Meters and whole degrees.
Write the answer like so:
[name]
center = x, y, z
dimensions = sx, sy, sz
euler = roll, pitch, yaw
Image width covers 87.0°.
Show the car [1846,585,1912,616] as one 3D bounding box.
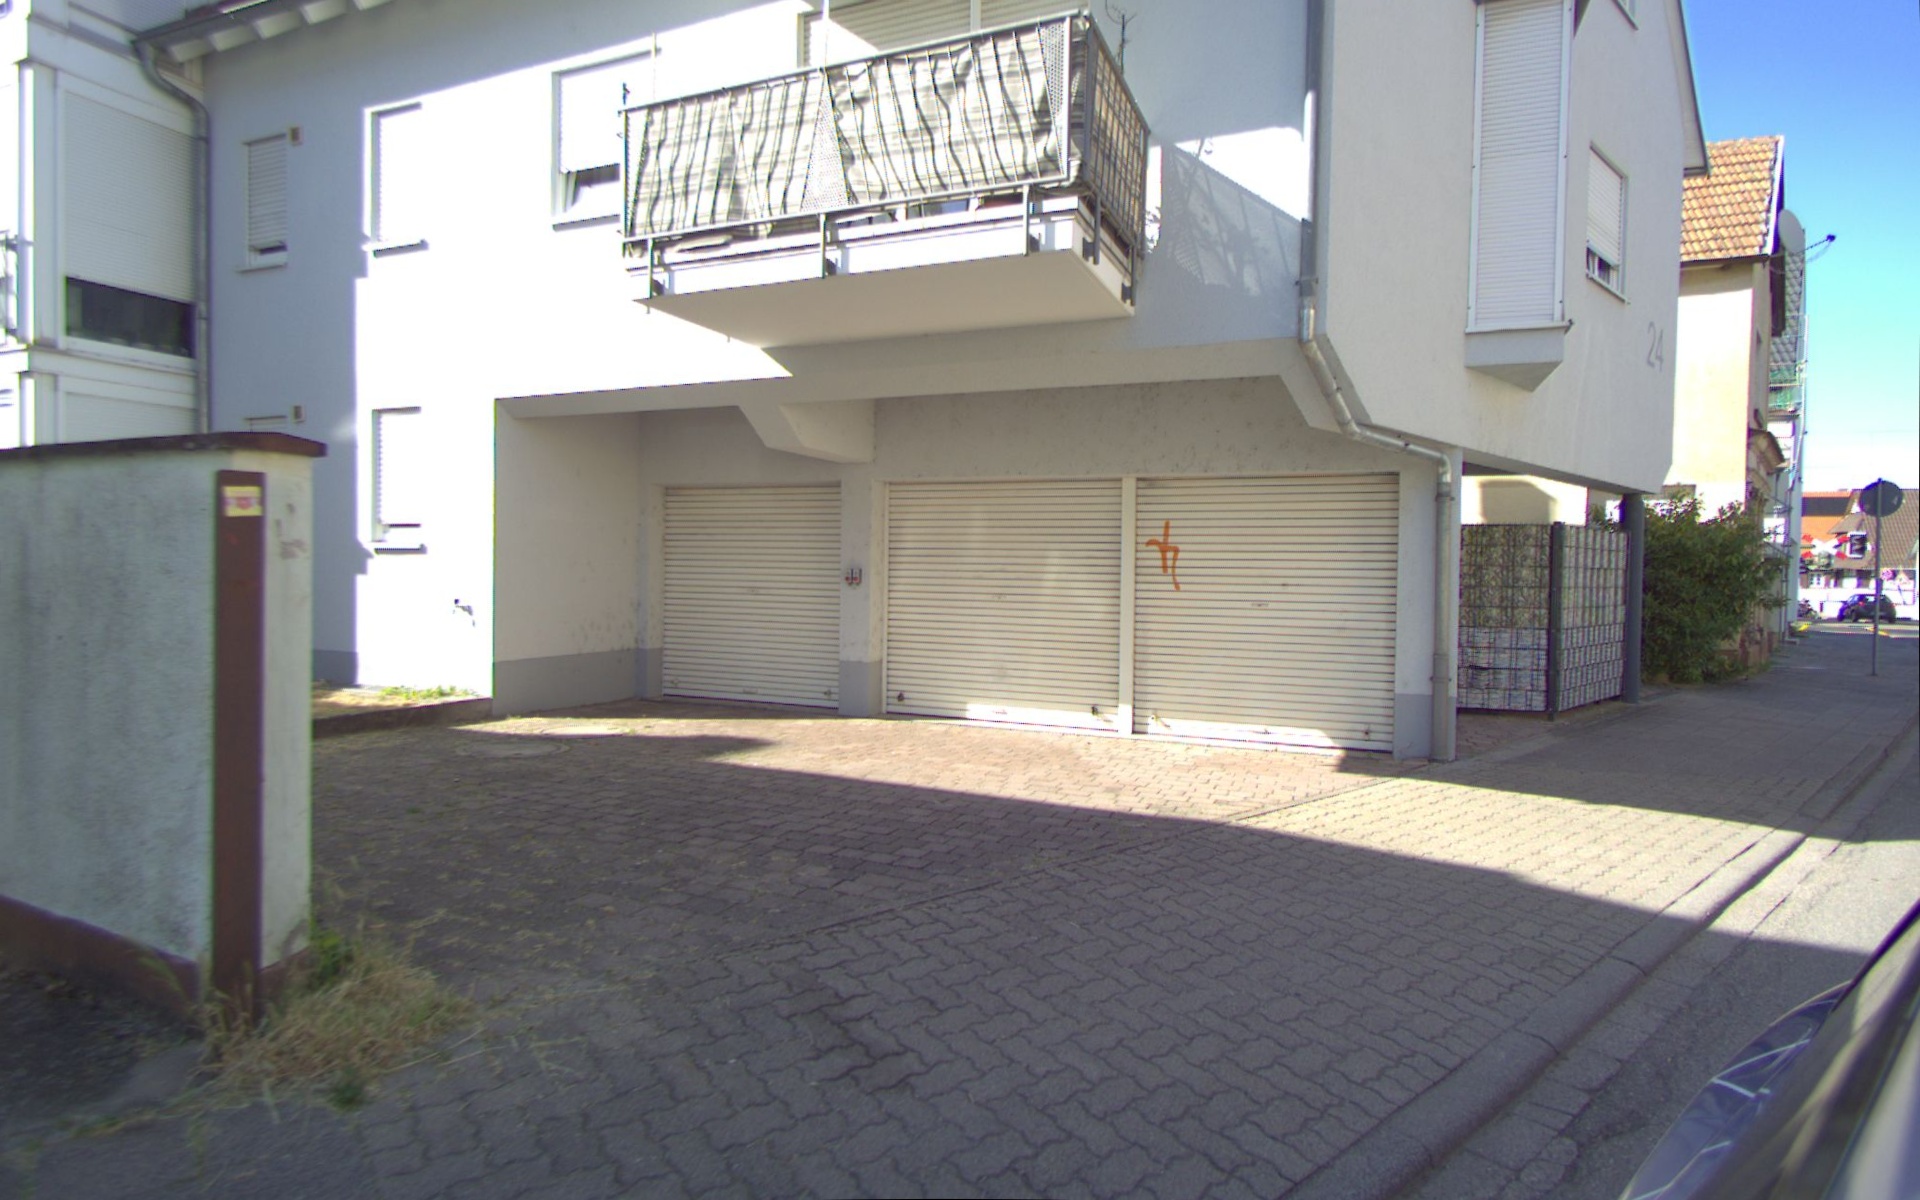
[car]
center = 47.248, 0.008, 52.086
dimensions = 1.533, 1.476, 3.681
euler = 2, 2, 27
